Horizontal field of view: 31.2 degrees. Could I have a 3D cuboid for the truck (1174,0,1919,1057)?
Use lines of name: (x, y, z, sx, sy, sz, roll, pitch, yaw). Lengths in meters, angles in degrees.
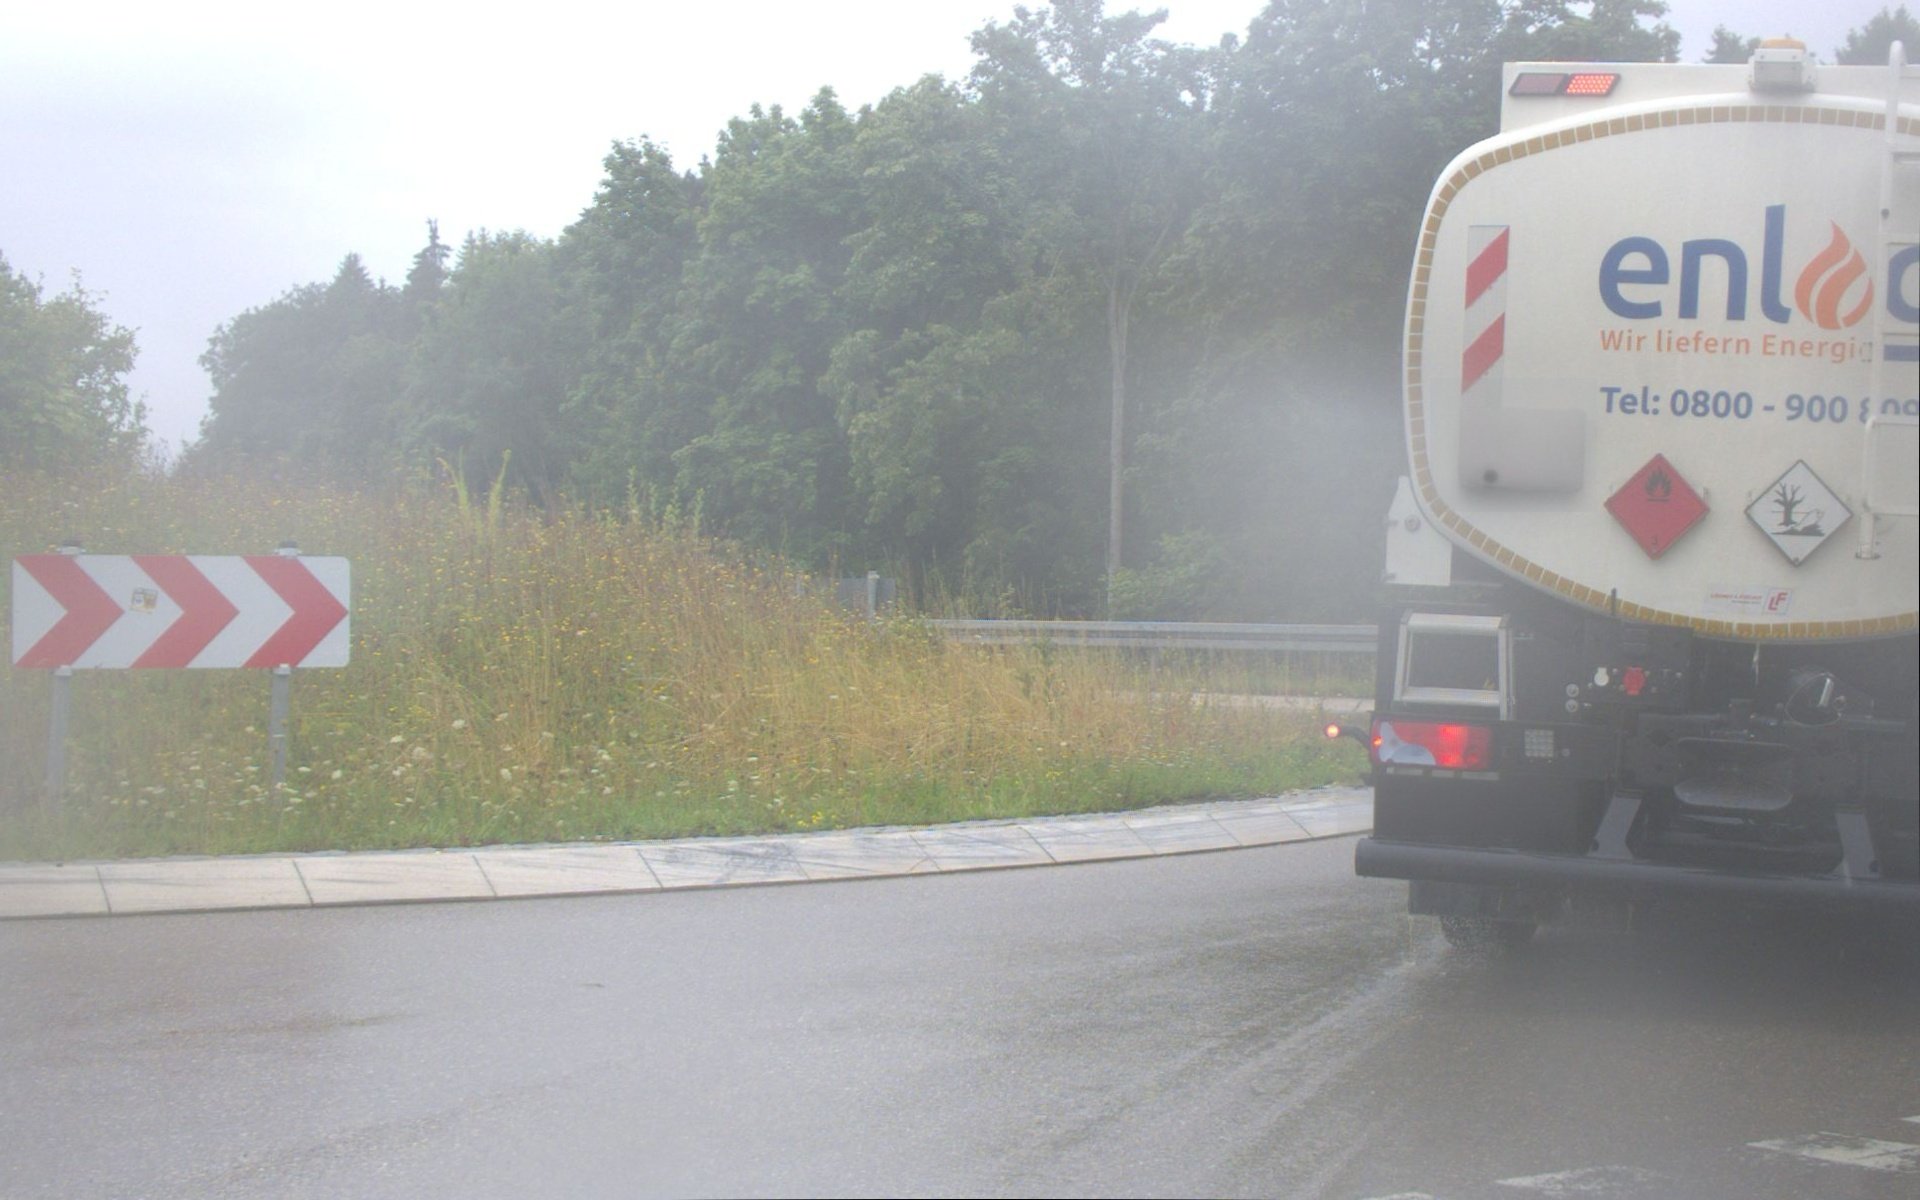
truck: (3.611, -0.530, 14.953, 3.042, 3.838, 8.813, 1, 0, 19)
